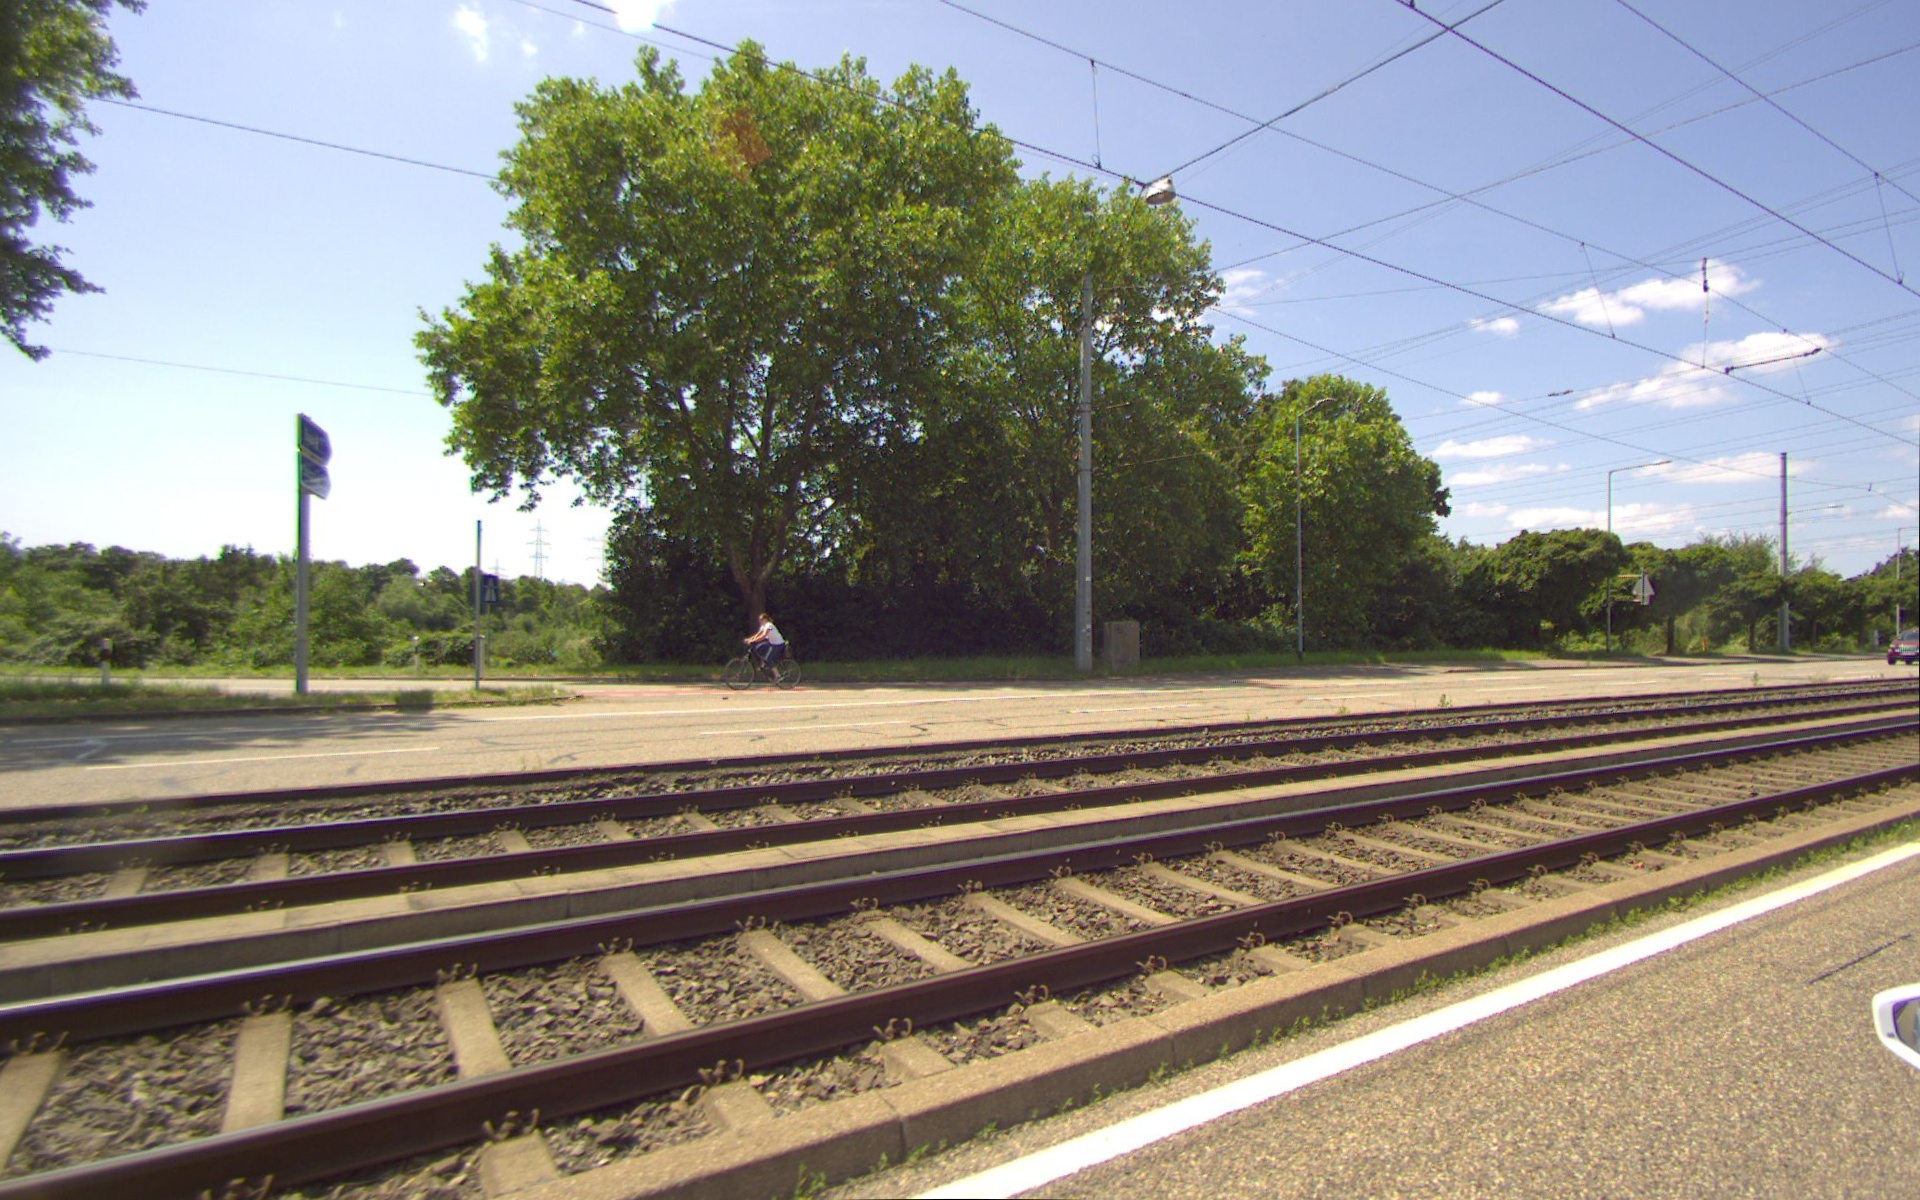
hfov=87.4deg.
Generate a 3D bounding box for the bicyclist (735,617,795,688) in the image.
[{"bbox_3d":[-4.343,1.146,22.404,1.148,1.538,0.618,1,-1,-34],"label":"bicyclist"}]

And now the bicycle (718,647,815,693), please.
[{"bbox_3d":[-4.306,1.552,22.451,2.069,0.952,0.617,1,-1,-34],"label":"bicycle"}]

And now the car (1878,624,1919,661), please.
[{"bbox_3d":[44.246,1.957,46.380,4.167,1.646,1.791,1,-2,-34],"label":"car"}]
